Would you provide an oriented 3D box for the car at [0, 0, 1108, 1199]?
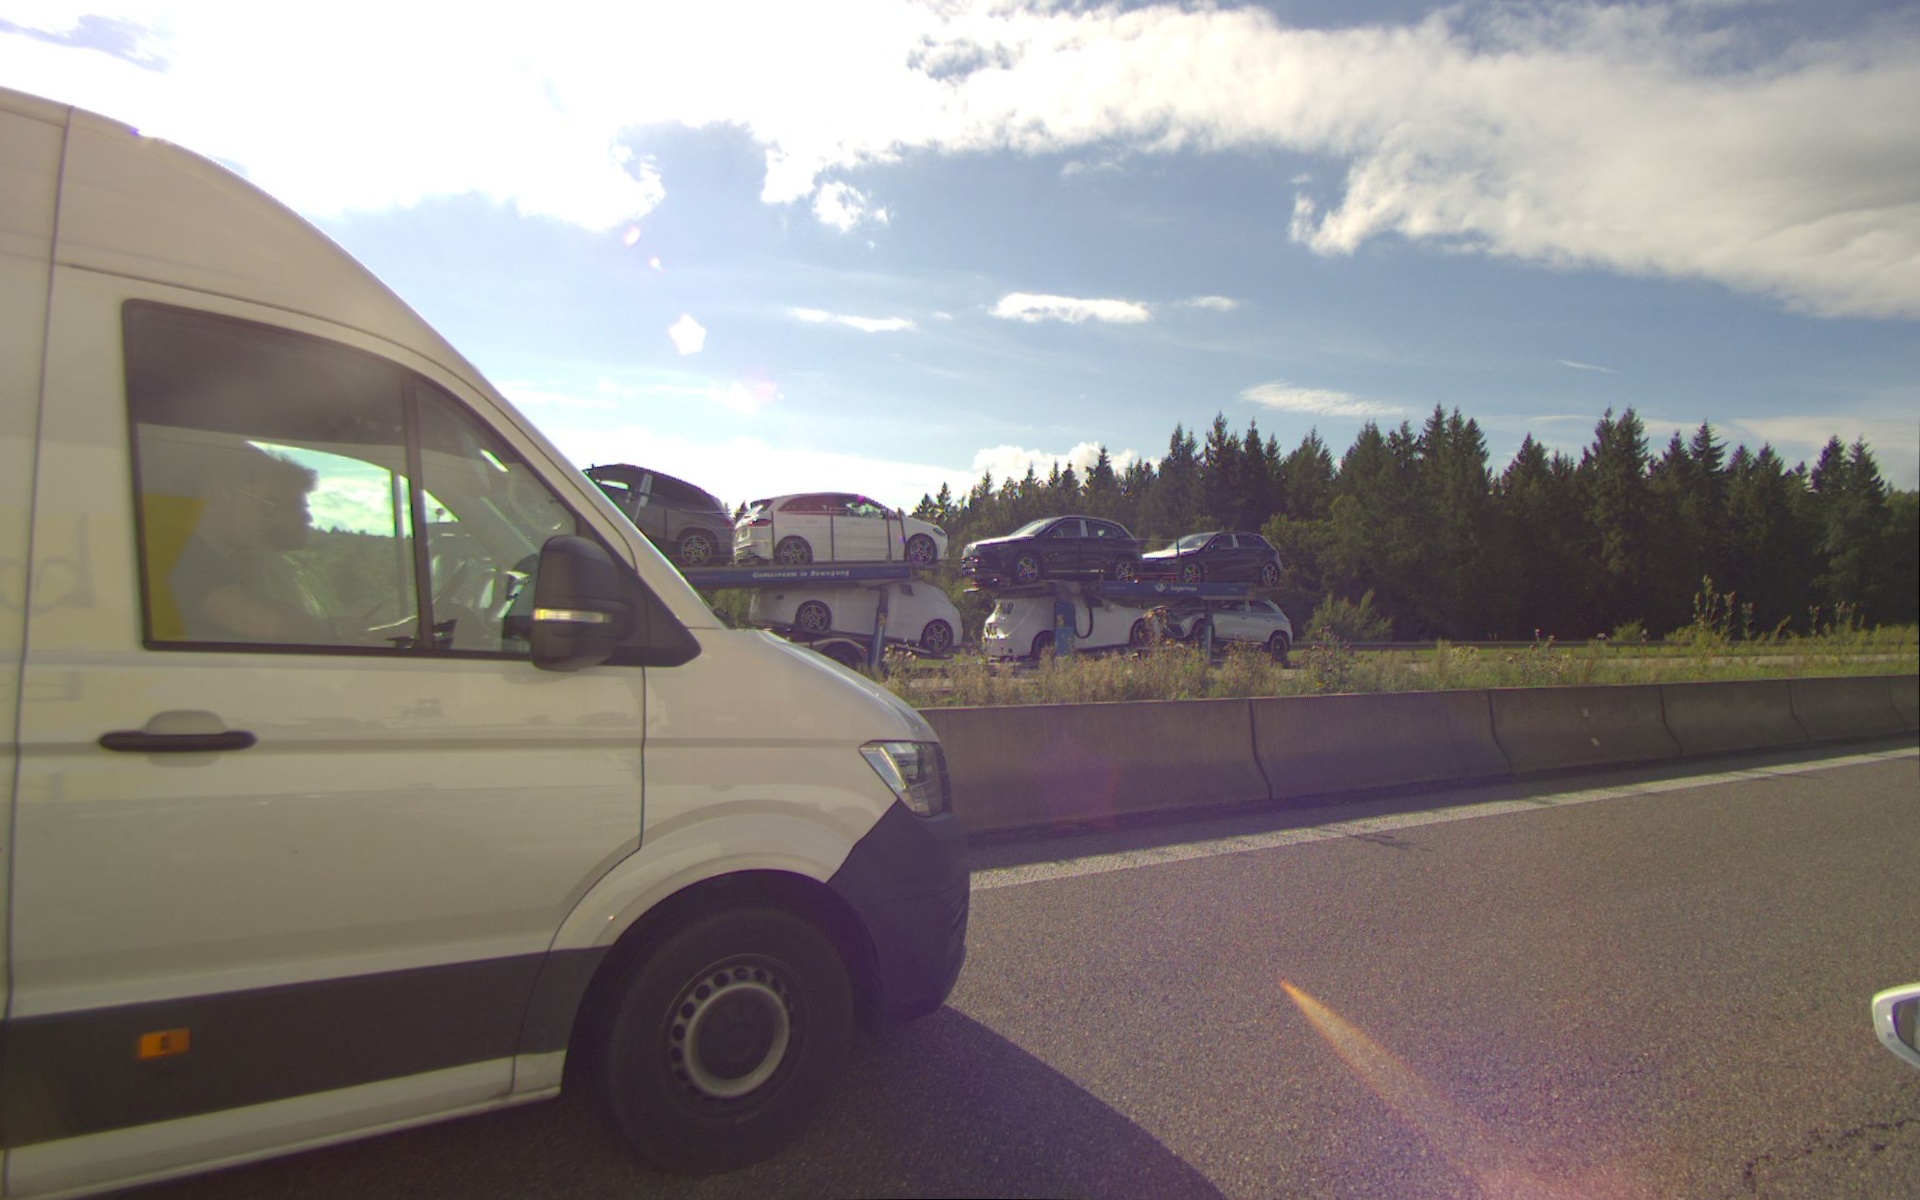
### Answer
[{"bbox_3d":[-2.644,0.166,2.487,6.111,2.633,2.005,1,-1,-31],"label":"car"}]

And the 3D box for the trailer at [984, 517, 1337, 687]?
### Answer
[{"bbox_3d":[5.082,0.160,24.510,8.849,3.575,2.786,2,-1,-30],"label":"trailer"}]

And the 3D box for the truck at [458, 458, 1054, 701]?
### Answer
[{"bbox_3d":[-3.479,-0.169,19.481,11.002,3.737,2.818,2,-1,-30],"label":"truck"}]
